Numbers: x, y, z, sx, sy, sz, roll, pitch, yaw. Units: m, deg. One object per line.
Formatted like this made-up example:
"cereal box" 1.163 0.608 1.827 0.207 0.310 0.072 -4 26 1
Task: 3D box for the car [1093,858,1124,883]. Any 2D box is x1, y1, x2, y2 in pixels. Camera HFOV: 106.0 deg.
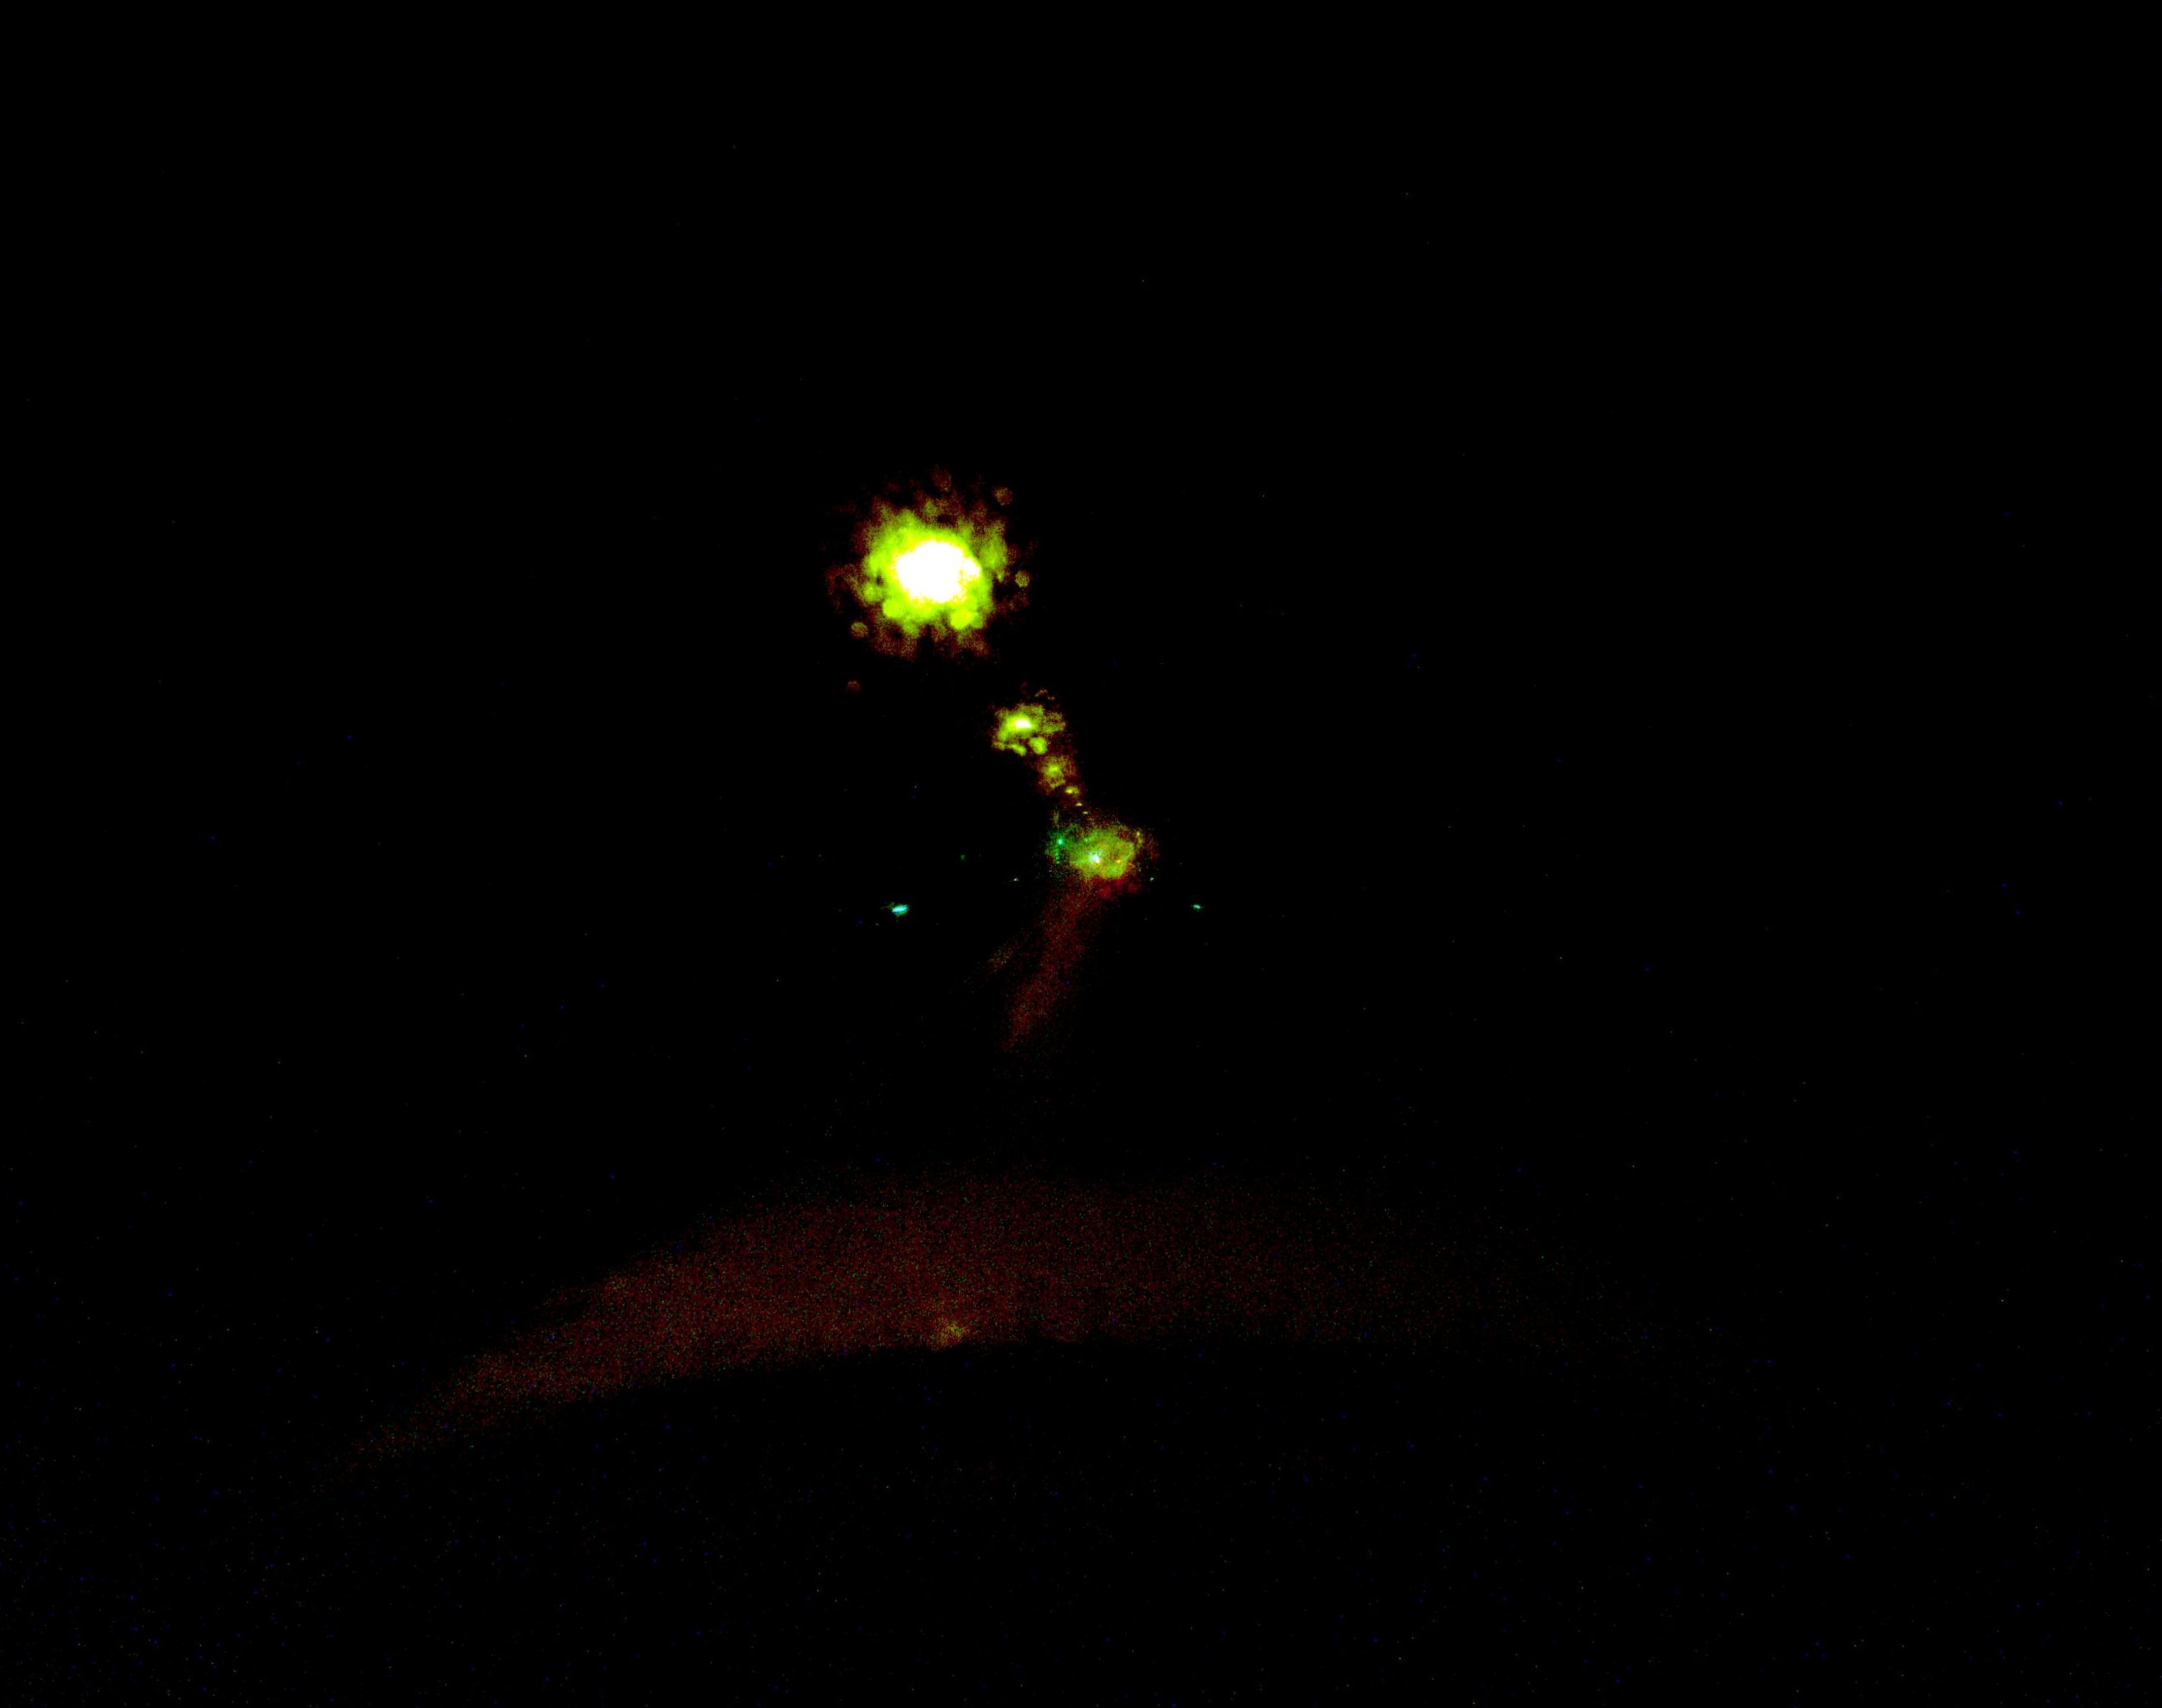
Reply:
"car" 1.931 1.142 56.721 2.082 1.662 4.001 -1 -1 1
